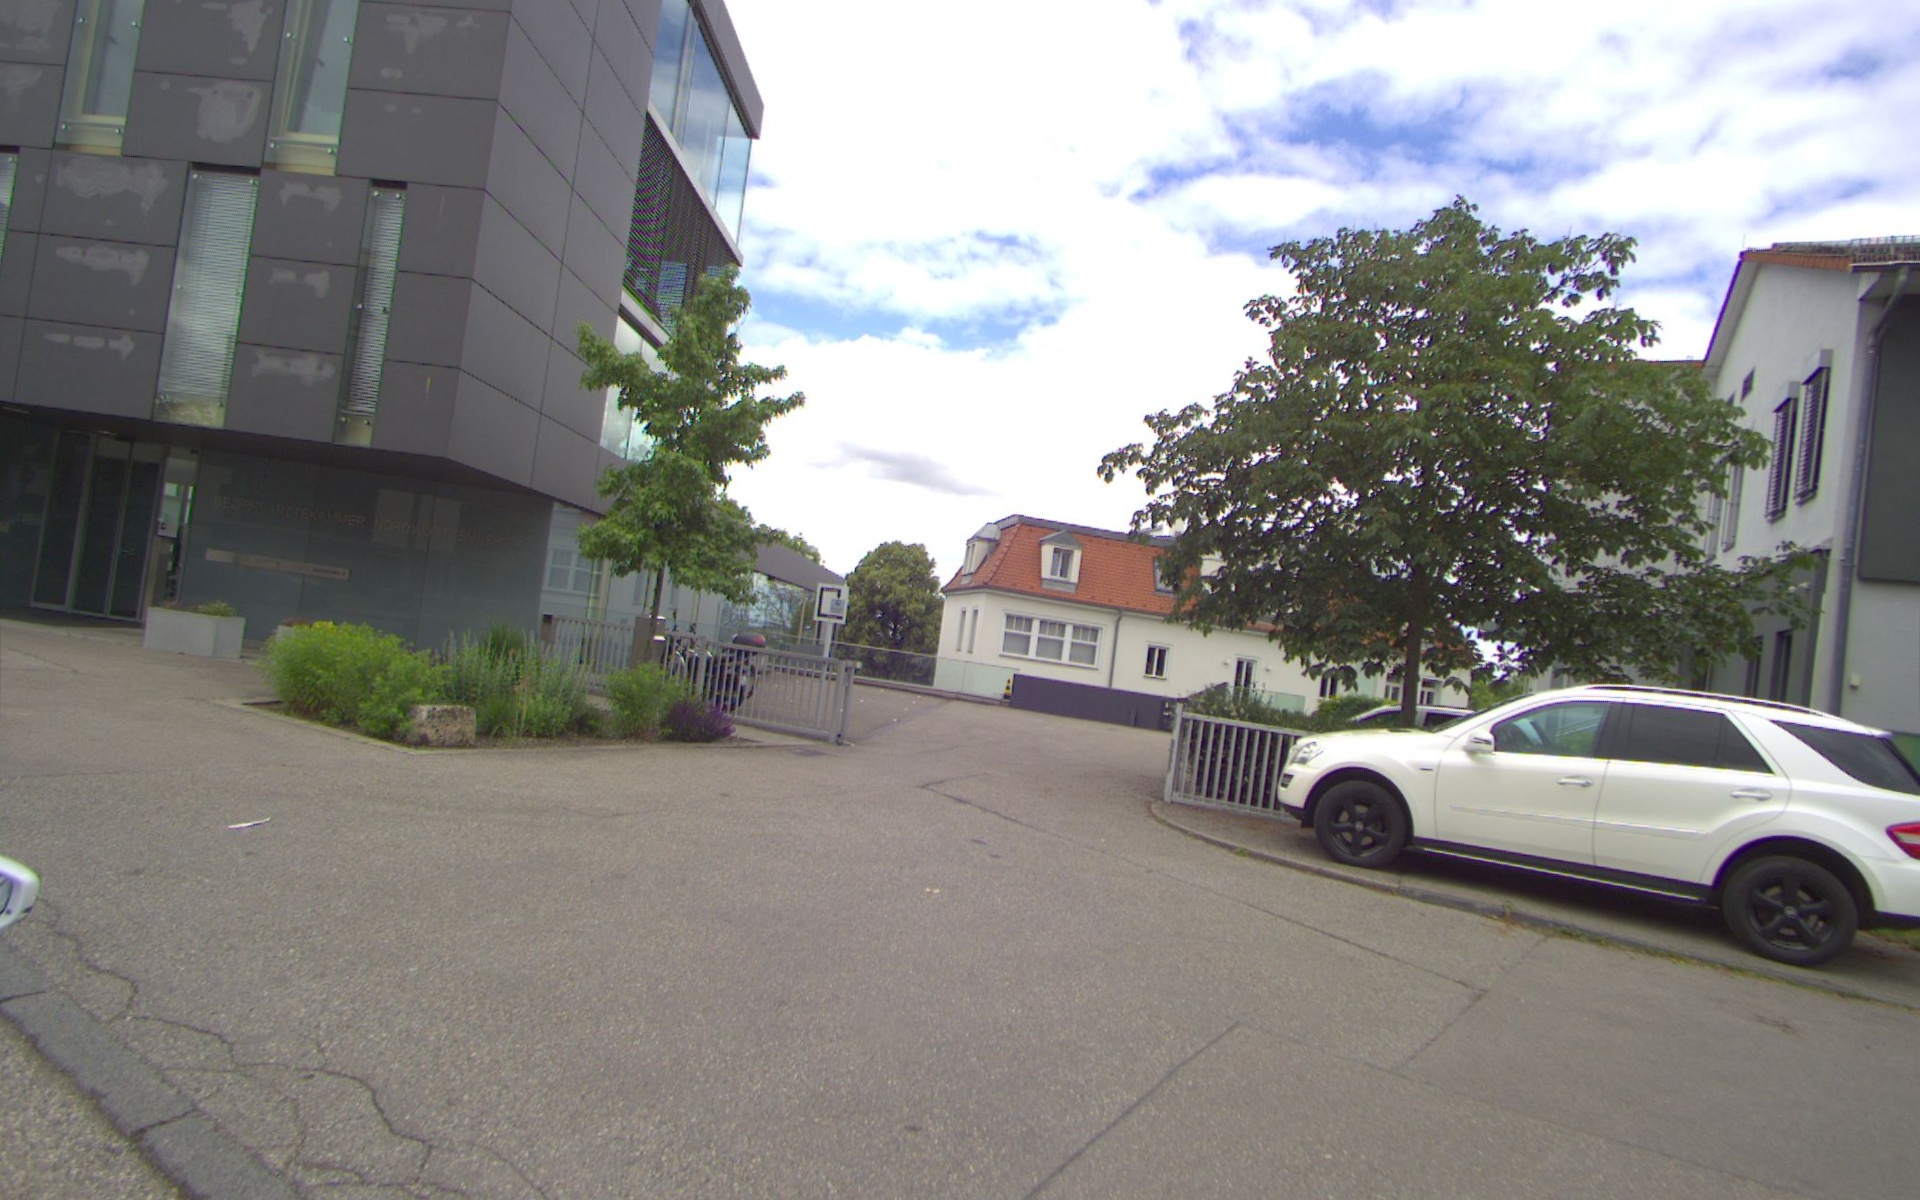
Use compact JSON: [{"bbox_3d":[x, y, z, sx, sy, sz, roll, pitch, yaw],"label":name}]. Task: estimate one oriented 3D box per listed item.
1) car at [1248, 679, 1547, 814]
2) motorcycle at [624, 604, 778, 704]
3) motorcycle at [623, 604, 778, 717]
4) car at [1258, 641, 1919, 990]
[{"bbox_3d":[6.976,2.277,16.310,4.143,1.500,1.621,5,-2,25],"label":"car"},{"bbox_3d":[-4.520,0.933,17.559,2.416,1.409,0.671,7,-1,13],"label":"motorcycle"},{"bbox_3d":[-4.011,0.930,15.573,2.084,1.409,0.671,8,-1,13],"label":"motorcycle"},{"bbox_3d":[5.132,1.554,8.313,4.644,1.777,1.856,6,-2,32],"label":"car"}]
